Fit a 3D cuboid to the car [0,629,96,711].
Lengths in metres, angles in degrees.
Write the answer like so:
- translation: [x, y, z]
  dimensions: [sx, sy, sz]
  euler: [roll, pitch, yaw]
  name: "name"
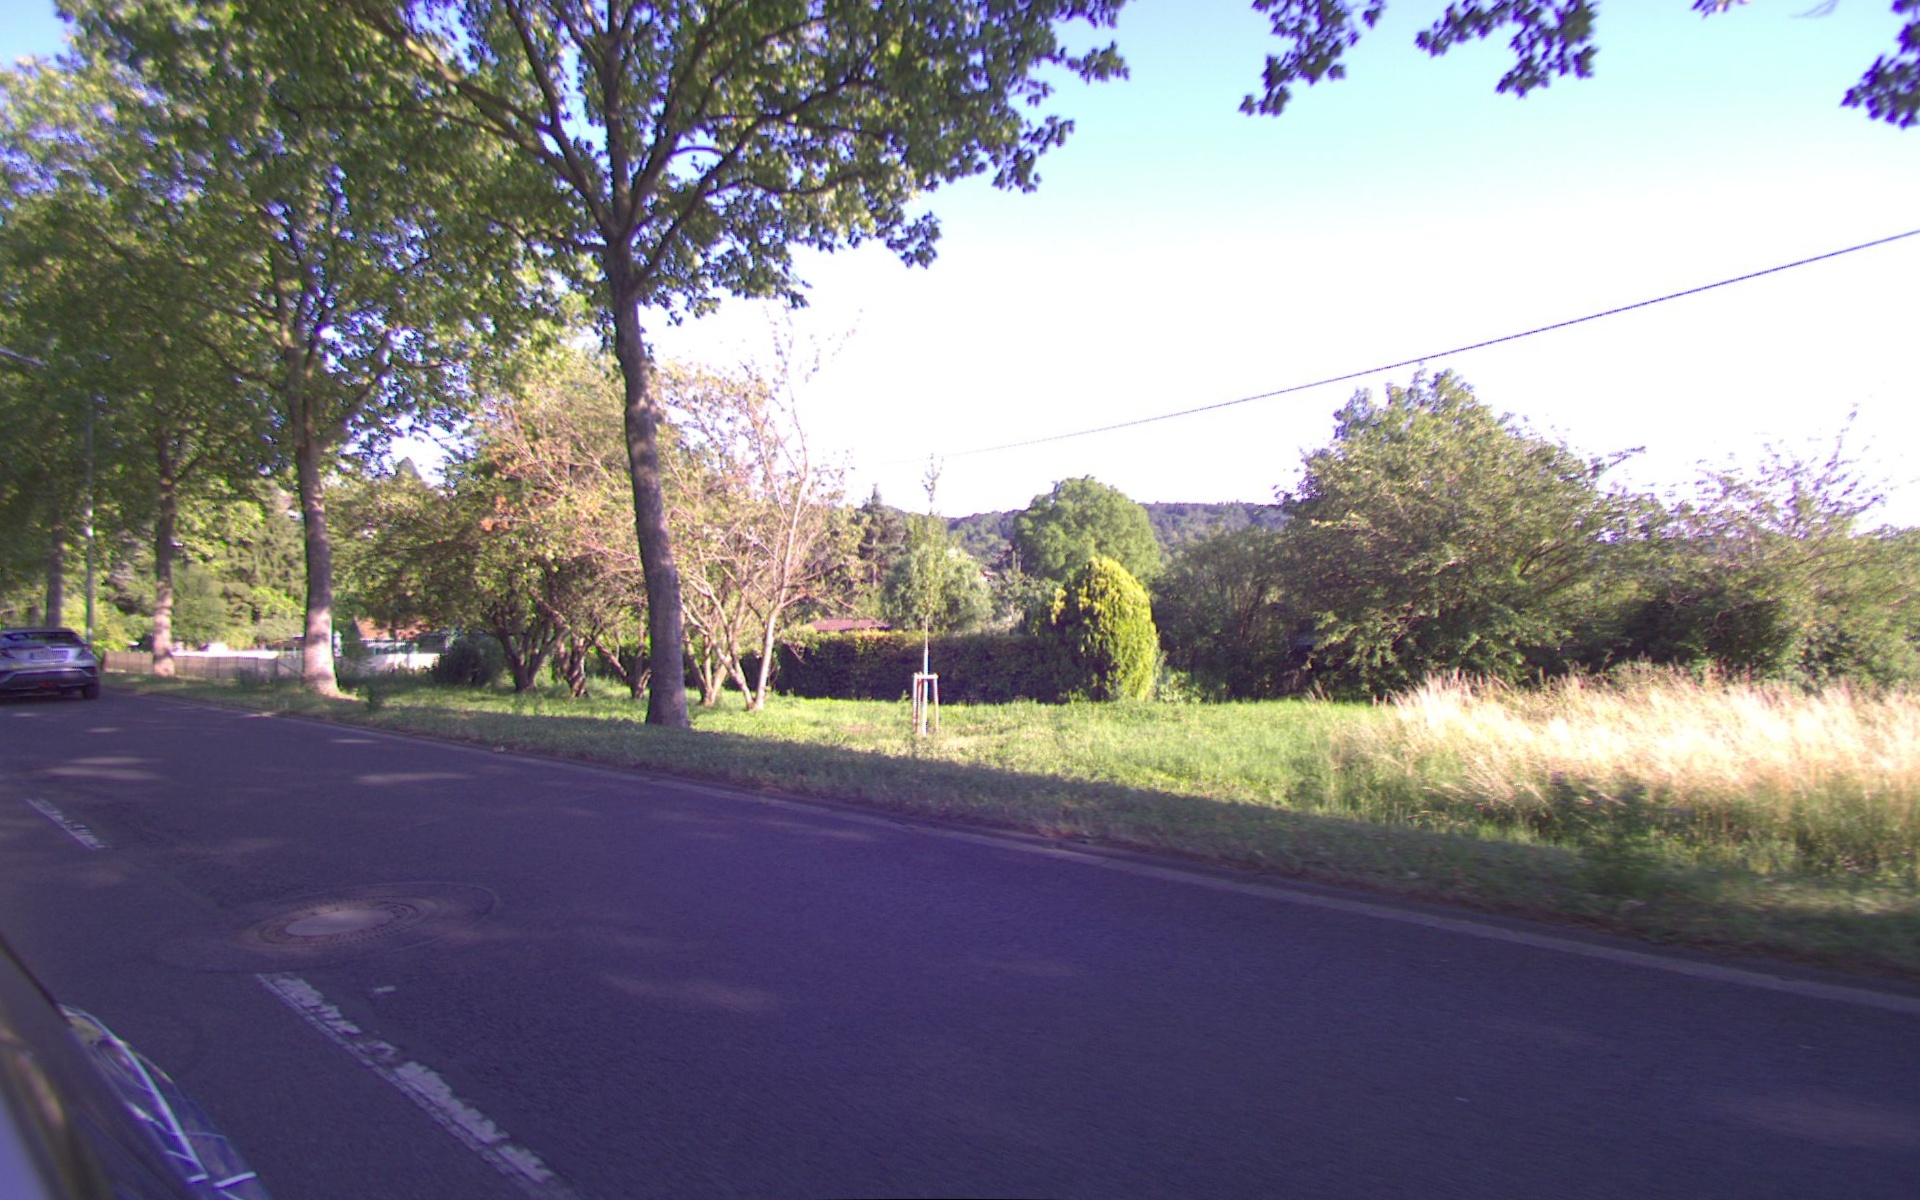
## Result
- translation: [-19.517, 1.403, 21.105]
  dimensions: [3.997, 1.516, 1.698]
  euler: [-1, 0, 41]
  name: "car"
